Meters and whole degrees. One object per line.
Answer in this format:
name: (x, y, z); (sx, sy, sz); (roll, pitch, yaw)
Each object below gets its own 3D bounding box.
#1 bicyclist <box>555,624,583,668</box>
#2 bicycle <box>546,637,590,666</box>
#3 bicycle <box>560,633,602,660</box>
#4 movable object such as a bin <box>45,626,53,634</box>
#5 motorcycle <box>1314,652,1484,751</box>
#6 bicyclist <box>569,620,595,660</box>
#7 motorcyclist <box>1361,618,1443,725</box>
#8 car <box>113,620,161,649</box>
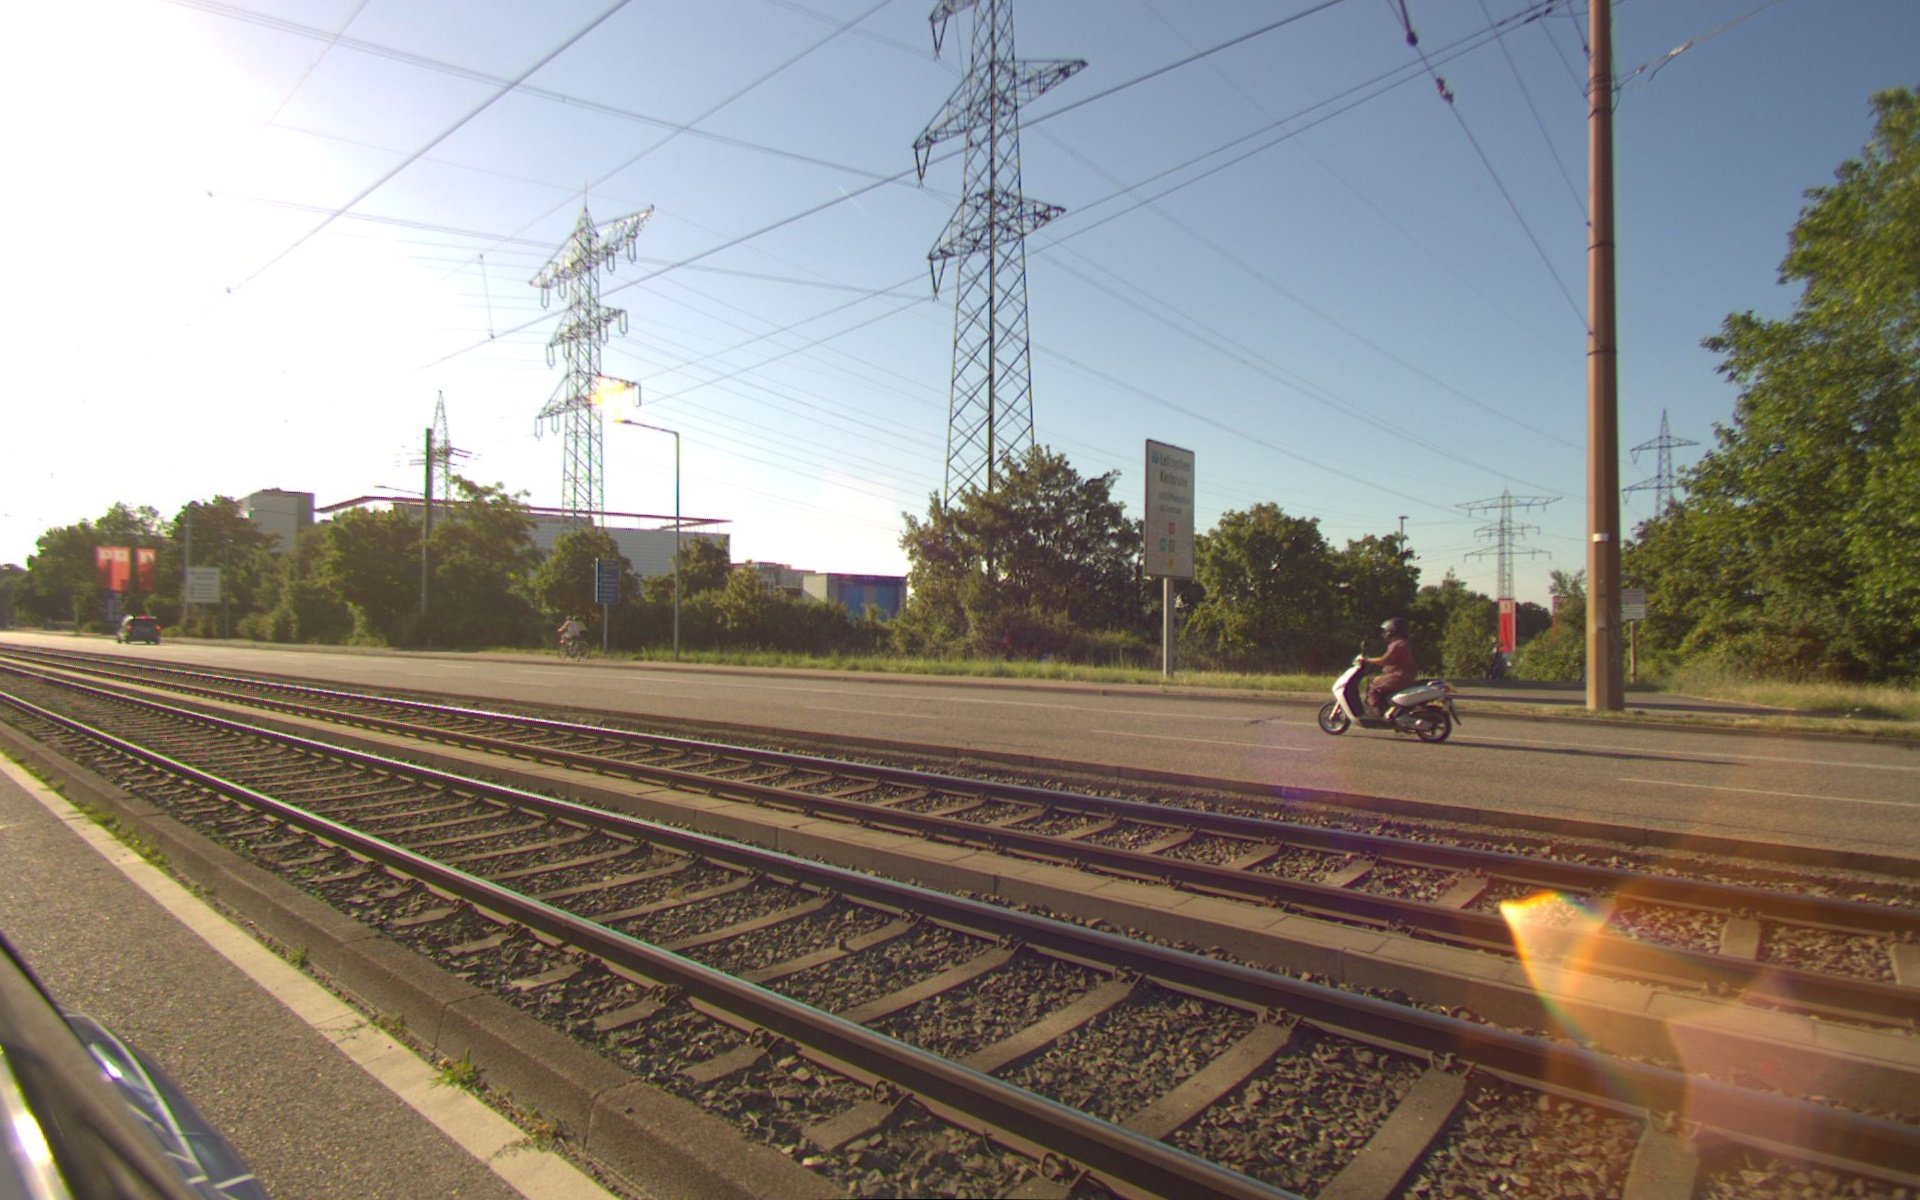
bicyclist: (-14.630, 1.706, 37.879); (0.966, 1.623, 0.584); (-1, -1, 41)
bicycle: (-14.718, 1.913, 37.978); (2.184, 1.029, 0.584); (-1, -1, 41)
bicycle: (-14.985, 1.830, 39.969); (2.184, 1.029, 0.584); (-1, -1, 41)
movable object such as a bin: (-117.322, 3.814, 130.363); (1.083, 0.973, 0.606); (-1, 1, 42)
motorcycle: (5.521, 1.244, 12.810); (1.901, 1.099, 0.530); (-1, 1, 41)
bicyclist: (-14.914, 1.566, 39.904); (0.905, 1.539, 0.584); (-1, -1, 41)
motorcyclist: (5.571, 0.874, 12.762); (0.804, 1.280, 0.530); (-1, 1, 41)
car: (-58.813, 2.469, 72.307); (4.860, 1.937, 1.972); (-4, -4, 43)
